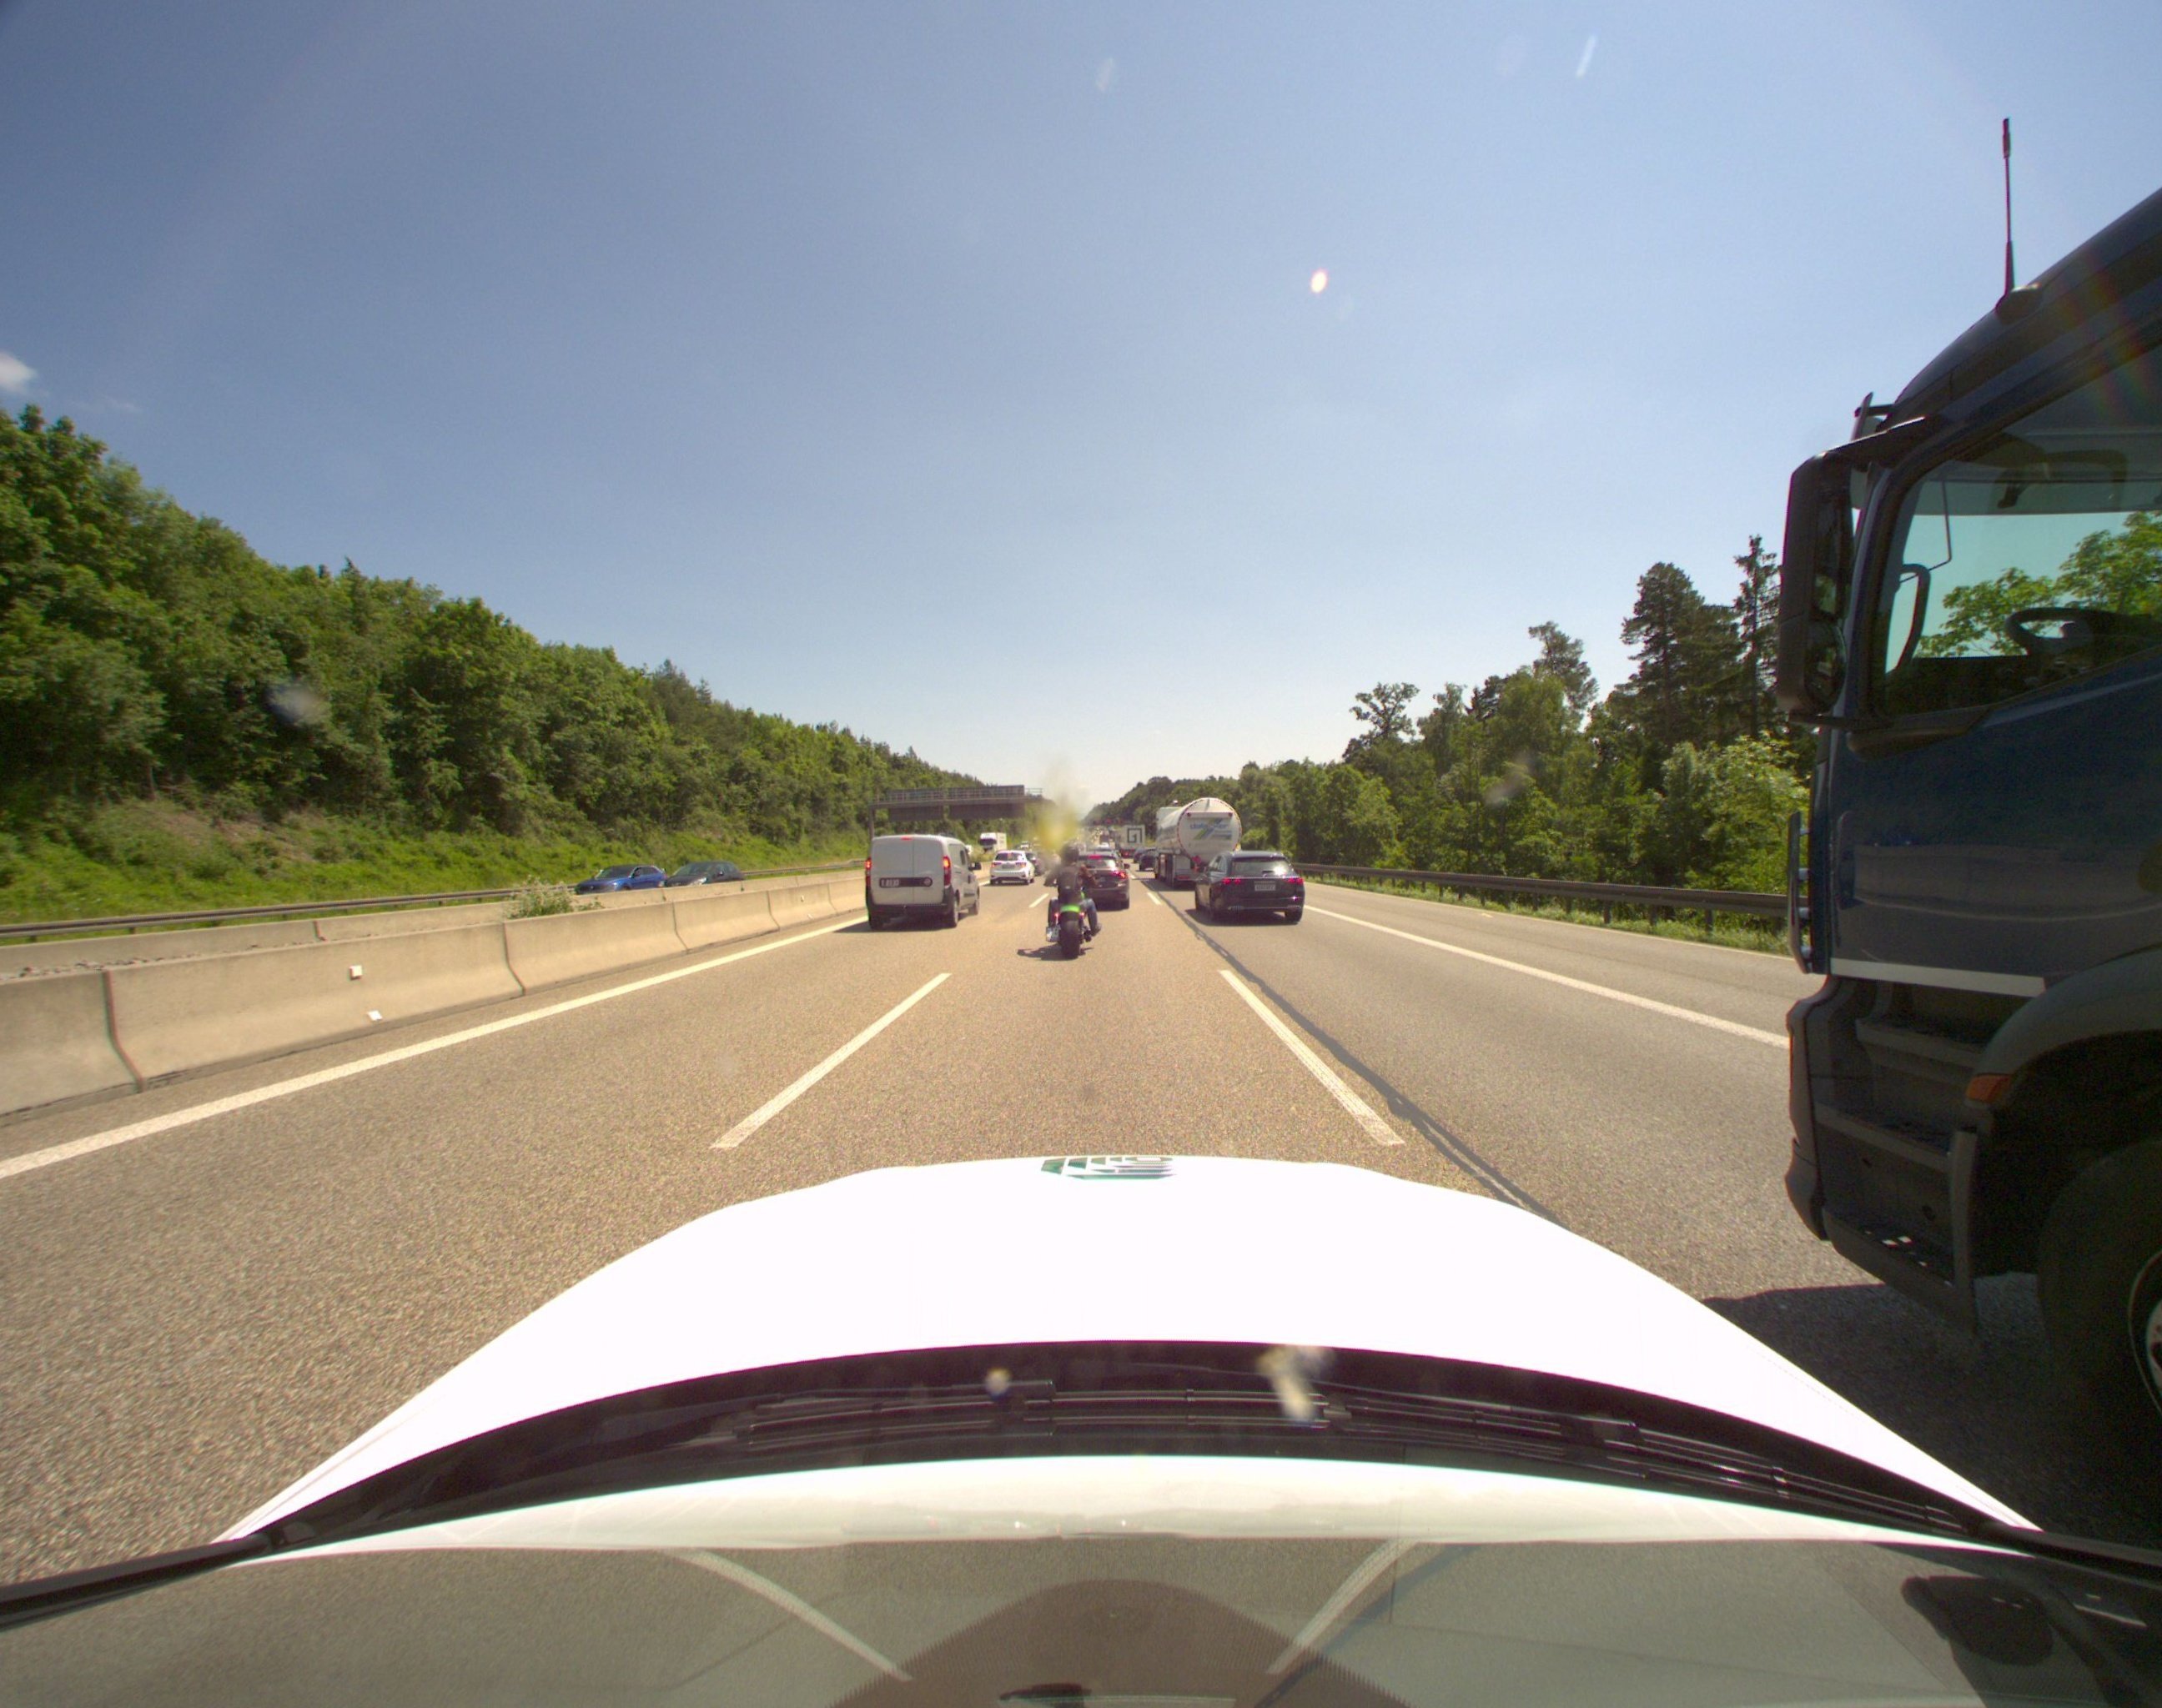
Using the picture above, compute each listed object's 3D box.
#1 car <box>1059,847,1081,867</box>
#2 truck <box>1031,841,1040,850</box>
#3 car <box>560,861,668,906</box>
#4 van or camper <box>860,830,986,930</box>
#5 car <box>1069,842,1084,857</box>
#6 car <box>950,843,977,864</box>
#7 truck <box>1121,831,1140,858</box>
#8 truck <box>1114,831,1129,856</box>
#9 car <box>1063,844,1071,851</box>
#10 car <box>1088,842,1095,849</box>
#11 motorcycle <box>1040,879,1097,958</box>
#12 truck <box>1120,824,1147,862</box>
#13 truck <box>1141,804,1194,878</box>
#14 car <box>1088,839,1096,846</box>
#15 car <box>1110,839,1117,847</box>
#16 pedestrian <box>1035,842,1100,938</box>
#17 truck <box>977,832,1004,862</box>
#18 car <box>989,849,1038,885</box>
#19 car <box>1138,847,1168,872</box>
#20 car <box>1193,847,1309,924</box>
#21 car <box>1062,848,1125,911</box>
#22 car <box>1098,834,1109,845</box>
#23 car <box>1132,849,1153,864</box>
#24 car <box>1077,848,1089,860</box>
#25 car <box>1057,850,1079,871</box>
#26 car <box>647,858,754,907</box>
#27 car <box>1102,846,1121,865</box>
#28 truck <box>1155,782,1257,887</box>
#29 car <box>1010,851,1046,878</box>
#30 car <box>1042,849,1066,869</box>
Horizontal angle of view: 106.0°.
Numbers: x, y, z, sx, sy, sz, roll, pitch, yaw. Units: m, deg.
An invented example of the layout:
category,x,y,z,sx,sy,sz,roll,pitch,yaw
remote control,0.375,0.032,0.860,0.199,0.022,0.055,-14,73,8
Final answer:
category,x,y,z,sx,sy,sz,roll,pitch,yaw
car,-1.063,0.313,79.143,1.873,1.859,4.002,-1,0,2
truck,-12.433,-2.308,222.335,1.986,2.500,4.001,-4,-1,2
car,-18.555,1.122,32.571,1.873,1.593,4.002,-2,0,2
van or camper,-3.289,0.529,17.804,1.789,1.892,4.161,-2,-1,1
car,-0.688,-0.647,119.214,1.922,2.013,4.002,-4,-1,2
car,-12.298,-0.004,85.663,1.873,2.013,4.470,-5,-1,2
truck,8.547,-1.568,142.558,3.022,4.542,9.986,-1,0,2
truck,8.654,-2.143,175.403,3.022,5.139,9.986,-1,0,2
car,-4.082,-1.955,238.460,1.986,2.013,4.002,-2,0,2
car,3.216,-2.616,247.386,1.986,2.013,4.002,-1,0,2
motorcycle,-0.155,0.932,12.414,0.688,1.015,2.123,-1,0,3
truck,6.588,-1.385,103.601,3.022,4.542,9.986,-1,0,2
truck,4.479,-0.618,42.829,1.988,3.522,4.749,-4,-1,-1
car,3.108,-3.167,223.838,1.986,2.013,4.002,-2,0,2
car,8.889,-2.922,222.455,1.986,2.013,4.002,-4,-1,2
pedestrian,-0.182,0.536,12.522,0.846,1.361,0.962,-4,0,3
truck,-14.845,-1.102,134.609,2.755,4.740,10.476,-2,0,2
car,-2.952,0.547,36.277,1.693,1.478,4.002,-2,0,2
car,4.854,0.364,55.444,1.780,1.555,3.805,-2,0,2
car,3.609,0.609,17.996,1.822,1.470,4.002,-1,0,2
car,0.341,0.627,21.973,1.527,1.510,4.001,-1,0,1
car,5.541,-3.538,199.901,2.495,2.587,5.018,-2,0,2
car,5.885,0.232,78.179,1.780,1.374,3.805,-2,0,2
car,0.419,-0.024,148.884,1.986,2.013,4.002,-4,-1,2
car,-1.352,0.711,87.465,1.986,2.013,4.002,-4,-1,2
car,-13.815,0.976,29.829,1.873,1.593,4.002,-2,0,2
car,3.424,0.172,91.388,1.986,2.013,4.002,-4,-1,2
truck,4.908,-0.643,33.875,2.977,3.671,9.291,-2,-1,2
car,-3.052,0.578,47.852,1.693,1.478,4.002,-2,0,2
car,-2.150,0.378,66.010,1.693,1.478,4.002,-2,0,2
